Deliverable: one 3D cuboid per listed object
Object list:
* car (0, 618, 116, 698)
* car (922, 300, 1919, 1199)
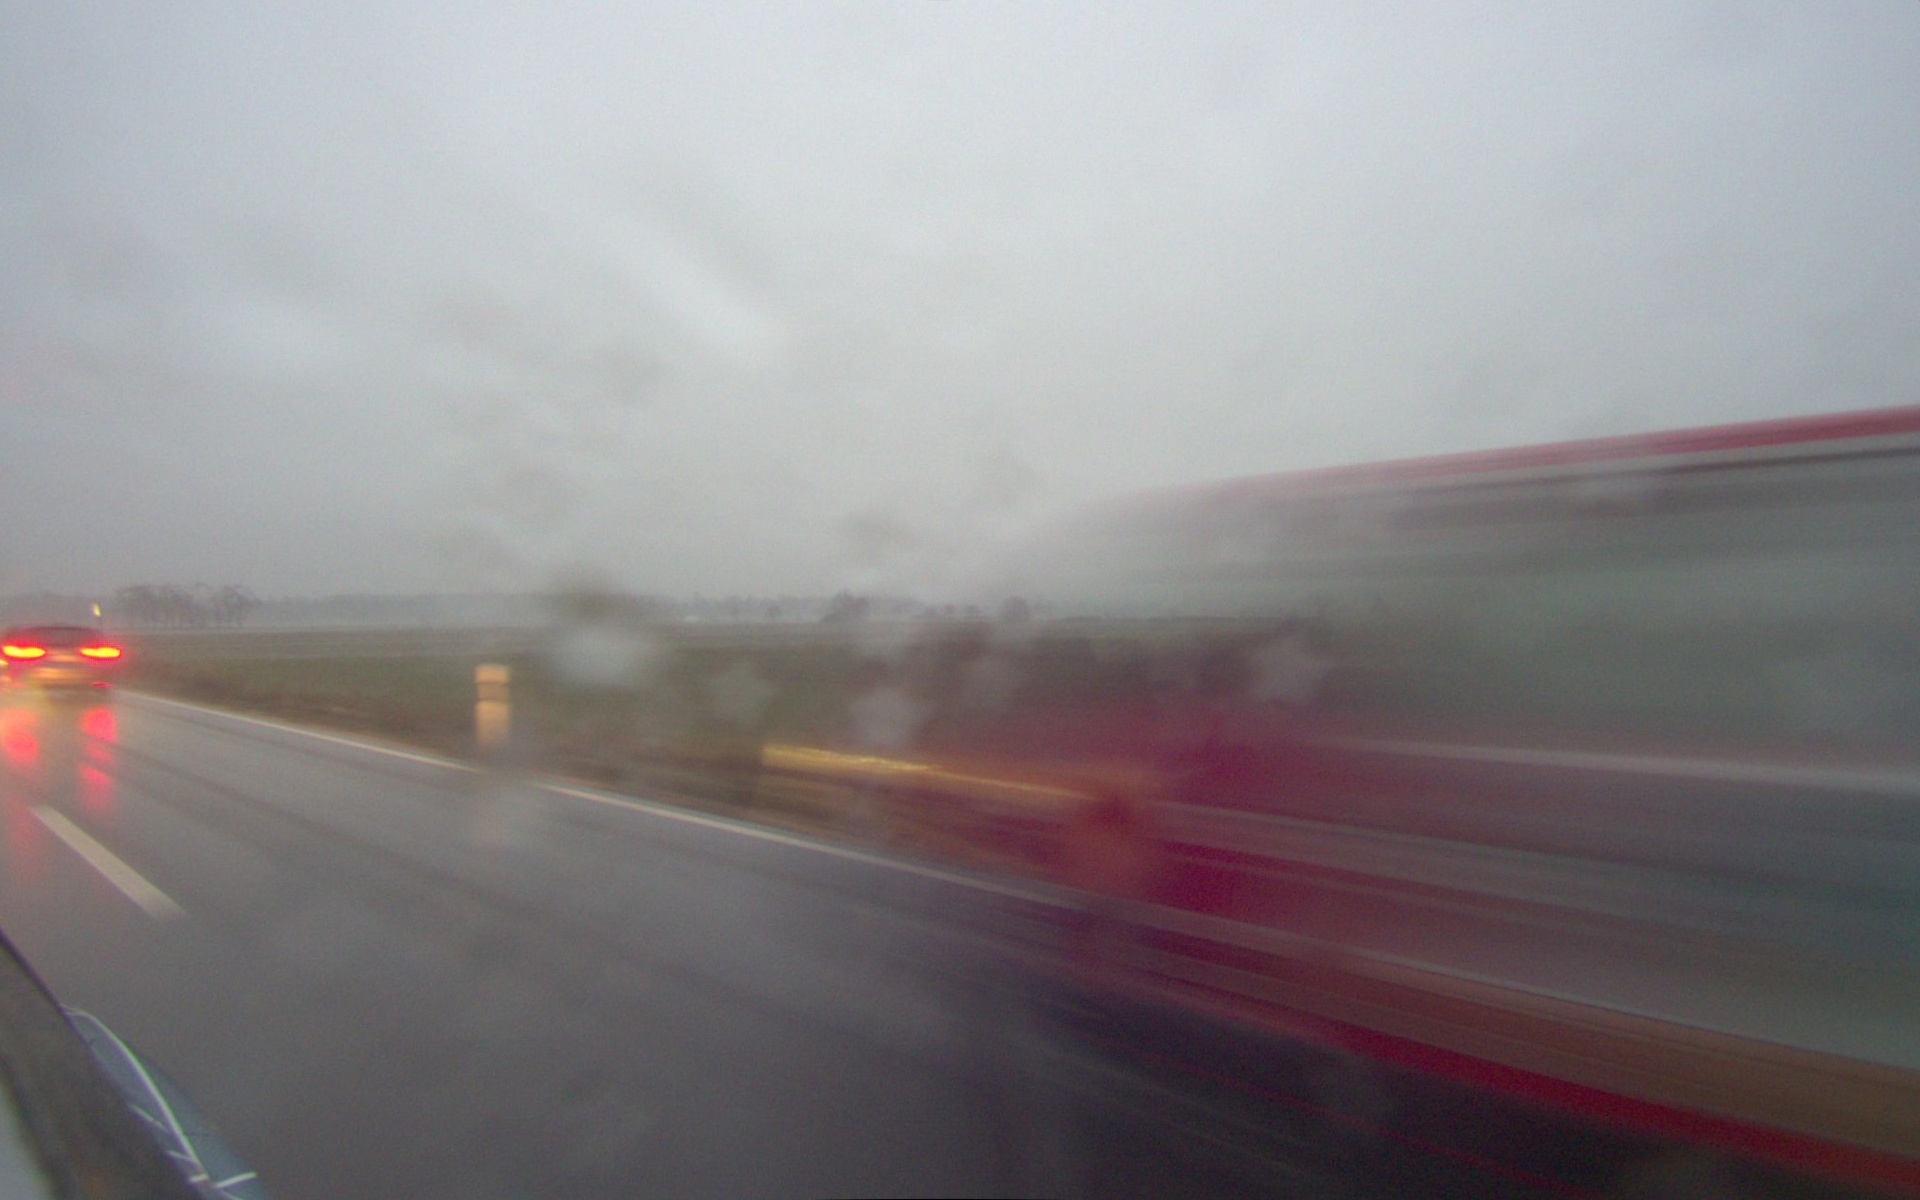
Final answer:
[{"bbox_3d":[-18.467,1.126,20.429,3.510,1.483,1.609,-1,-3,41],"label":"car"},{"bbox_3d":[2.393,0.476,2.291,4.949,1.885,1.973,-1,-4,41],"label":"car"}]
